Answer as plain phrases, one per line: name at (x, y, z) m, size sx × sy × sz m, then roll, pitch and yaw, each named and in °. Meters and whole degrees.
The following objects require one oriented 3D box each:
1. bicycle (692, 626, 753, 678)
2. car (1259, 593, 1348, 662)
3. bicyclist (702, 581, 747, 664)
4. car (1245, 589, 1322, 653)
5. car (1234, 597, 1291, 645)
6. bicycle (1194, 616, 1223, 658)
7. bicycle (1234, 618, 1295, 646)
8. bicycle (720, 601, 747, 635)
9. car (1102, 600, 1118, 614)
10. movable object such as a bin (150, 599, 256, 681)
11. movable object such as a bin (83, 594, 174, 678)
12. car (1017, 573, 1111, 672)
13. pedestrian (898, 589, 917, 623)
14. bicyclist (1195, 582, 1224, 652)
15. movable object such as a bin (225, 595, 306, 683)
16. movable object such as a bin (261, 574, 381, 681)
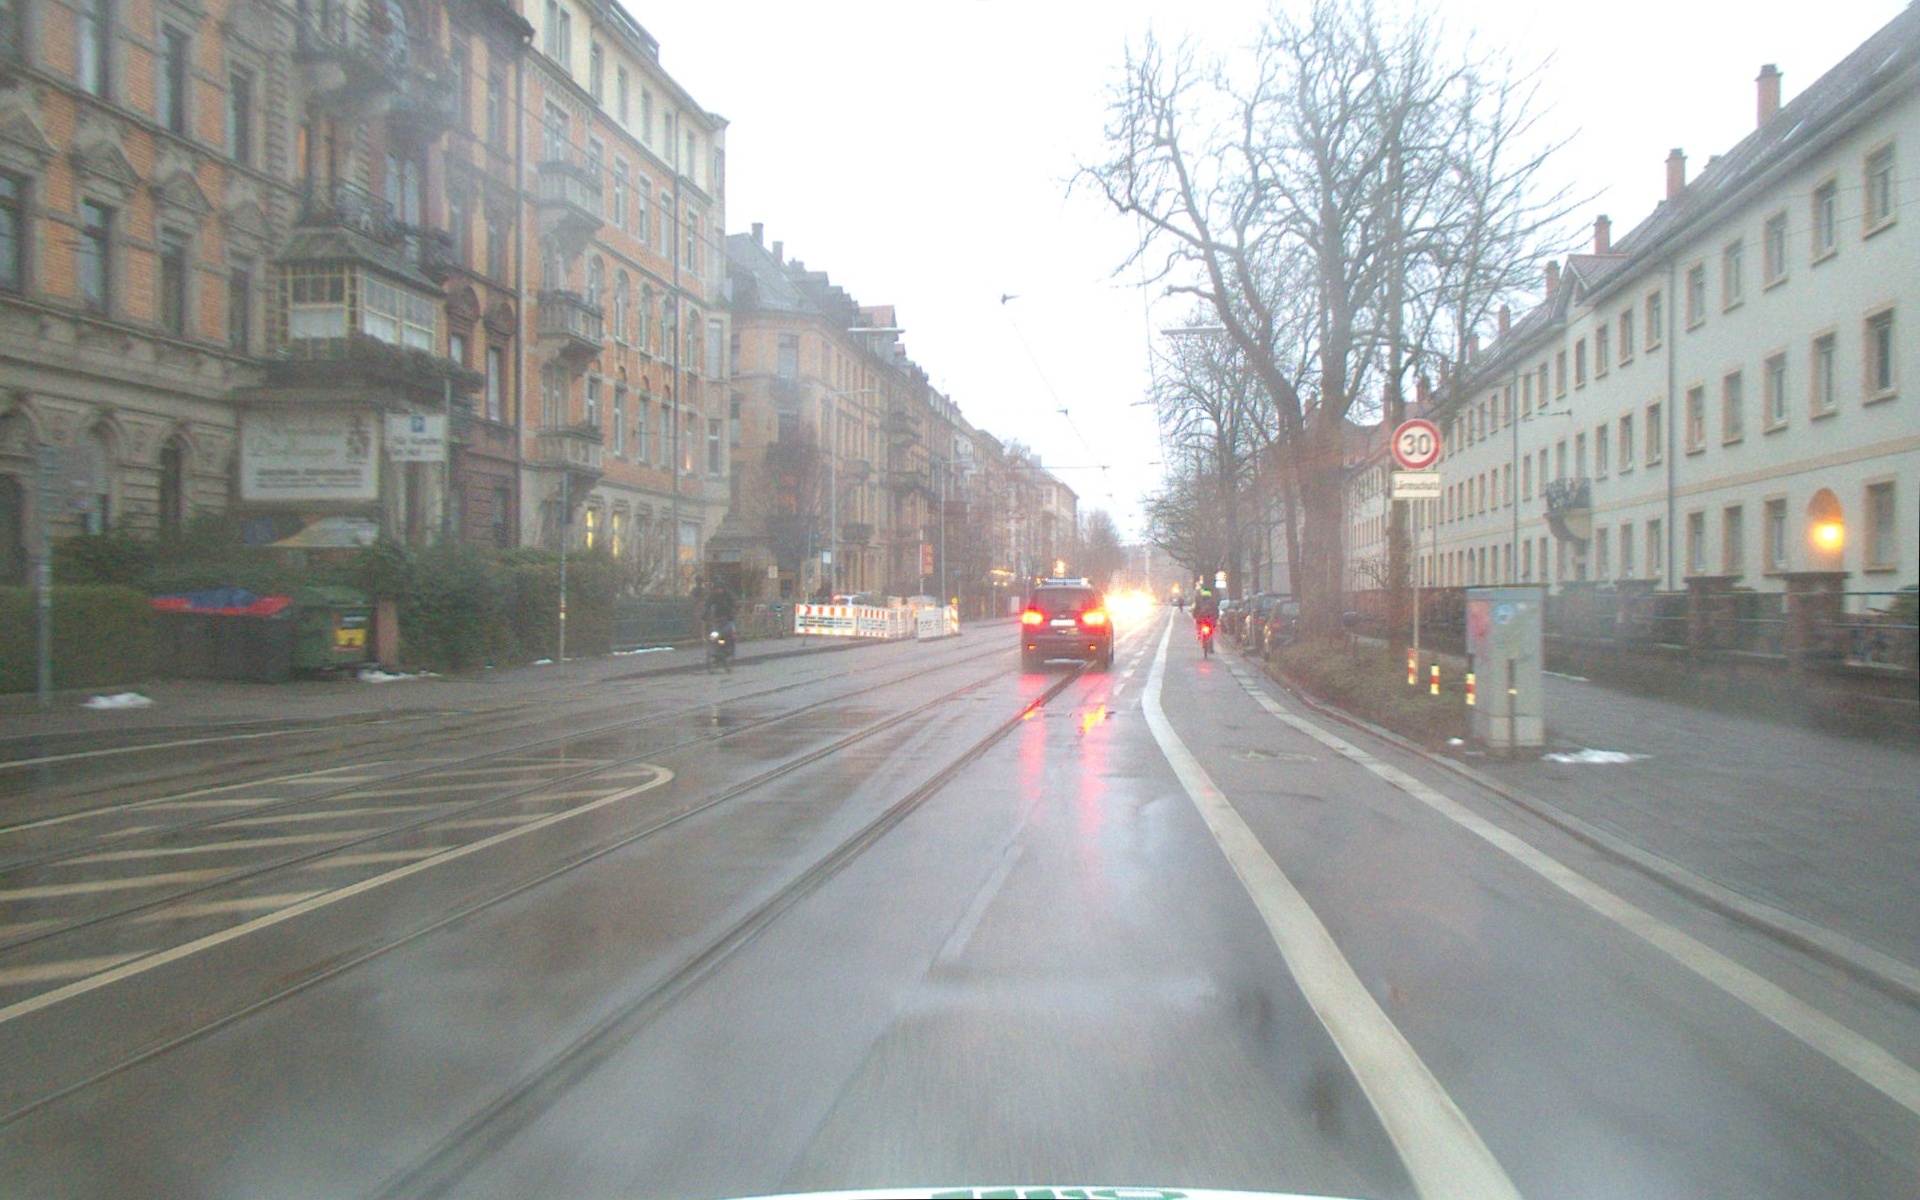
bicycle at (-4.769, 1.030, 33.313) m, size 0.664 × 0.989 × 1.935 m, roll 1°, pitch 0°, yaw 9°
car at (8.191, 0.629, 39.677) m, size 1.747 × 1.536 × 3.990 m, roll 1°, pitch 0°, yaw 7°
bicyclist at (-4.754, 0.451, 33.429) m, size 0.669 × 1.644 × 0.766 m, roll 1°, pitch 0°, yaw 8°
car at (9.439, 0.589, 48.629) m, size 1.865 × 1.758 × 4.906 m, roll 1°, pitch 0°, yaw 7°
car at (10.789, 0.721, 59.158) m, size 1.865 × 1.638 × 4.565 m, roll 1°, pitch 0°, yaw 9°
bicycle at (6.381, 0.933, 42.436) m, size 0.716 × 1.024 × 1.765 m, roll 1°, pitch 0°, yaw 9°
bicycle at (10.149, 1.074, 55.167) m, size 1.971 × 0.932 × 0.465 m, roll 0°, pitch 0°, yaw 17°
bicycle at (-6.573, 0.516, 48.108) m, size 0.257 × 0.931 × 1.687 m, roll 6°, pitch 1°, yaw 7°
car at (18.757, 0.832, 206.571) m, size 1.882 × 1.750 × 4.003 m, roll 1°, pitch 0°, yaw 7°
movable object such as a bin at (-11.724, 0.609, 25.650) m, size 1.160 × 1.228 × 0.946 m, roll 1°, pitch 0°, yaw 5°
movable object such as a bin at (-12.924, 0.556, 25.731) m, size 0.988 × 1.266 × 0.774 m, roll 1°, pitch 0°, yaw 5°
car at (2.279, 0.450, 35.444) m, size 1.764 × 1.903 × 4.020 m, roll 3°, pitch 0°, yaw 6°
pedestrian at (-2.745, 0.306, 86.759) m, size 0.711 × 1.804 × 0.763 m, roll 1°, pitch 0°, yaw -30°
bicyclist at (6.399, 0.442, 42.464) m, size 0.715 × 1.767 × 0.766 m, roll 1°, pitch 0°, yaw 9°
movable object such as a bin at (-10.677, 0.595, 25.432) m, size 0.876 × 1.315 × 0.747 m, roll 1°, pitch 0°, yaw 5°
movable object such as a bin at (-10.112, 0.419, 26.218) m, size 1.217 × 1.613 × 1.309 m, roll 1°, pitch 0°, yaw 12°
